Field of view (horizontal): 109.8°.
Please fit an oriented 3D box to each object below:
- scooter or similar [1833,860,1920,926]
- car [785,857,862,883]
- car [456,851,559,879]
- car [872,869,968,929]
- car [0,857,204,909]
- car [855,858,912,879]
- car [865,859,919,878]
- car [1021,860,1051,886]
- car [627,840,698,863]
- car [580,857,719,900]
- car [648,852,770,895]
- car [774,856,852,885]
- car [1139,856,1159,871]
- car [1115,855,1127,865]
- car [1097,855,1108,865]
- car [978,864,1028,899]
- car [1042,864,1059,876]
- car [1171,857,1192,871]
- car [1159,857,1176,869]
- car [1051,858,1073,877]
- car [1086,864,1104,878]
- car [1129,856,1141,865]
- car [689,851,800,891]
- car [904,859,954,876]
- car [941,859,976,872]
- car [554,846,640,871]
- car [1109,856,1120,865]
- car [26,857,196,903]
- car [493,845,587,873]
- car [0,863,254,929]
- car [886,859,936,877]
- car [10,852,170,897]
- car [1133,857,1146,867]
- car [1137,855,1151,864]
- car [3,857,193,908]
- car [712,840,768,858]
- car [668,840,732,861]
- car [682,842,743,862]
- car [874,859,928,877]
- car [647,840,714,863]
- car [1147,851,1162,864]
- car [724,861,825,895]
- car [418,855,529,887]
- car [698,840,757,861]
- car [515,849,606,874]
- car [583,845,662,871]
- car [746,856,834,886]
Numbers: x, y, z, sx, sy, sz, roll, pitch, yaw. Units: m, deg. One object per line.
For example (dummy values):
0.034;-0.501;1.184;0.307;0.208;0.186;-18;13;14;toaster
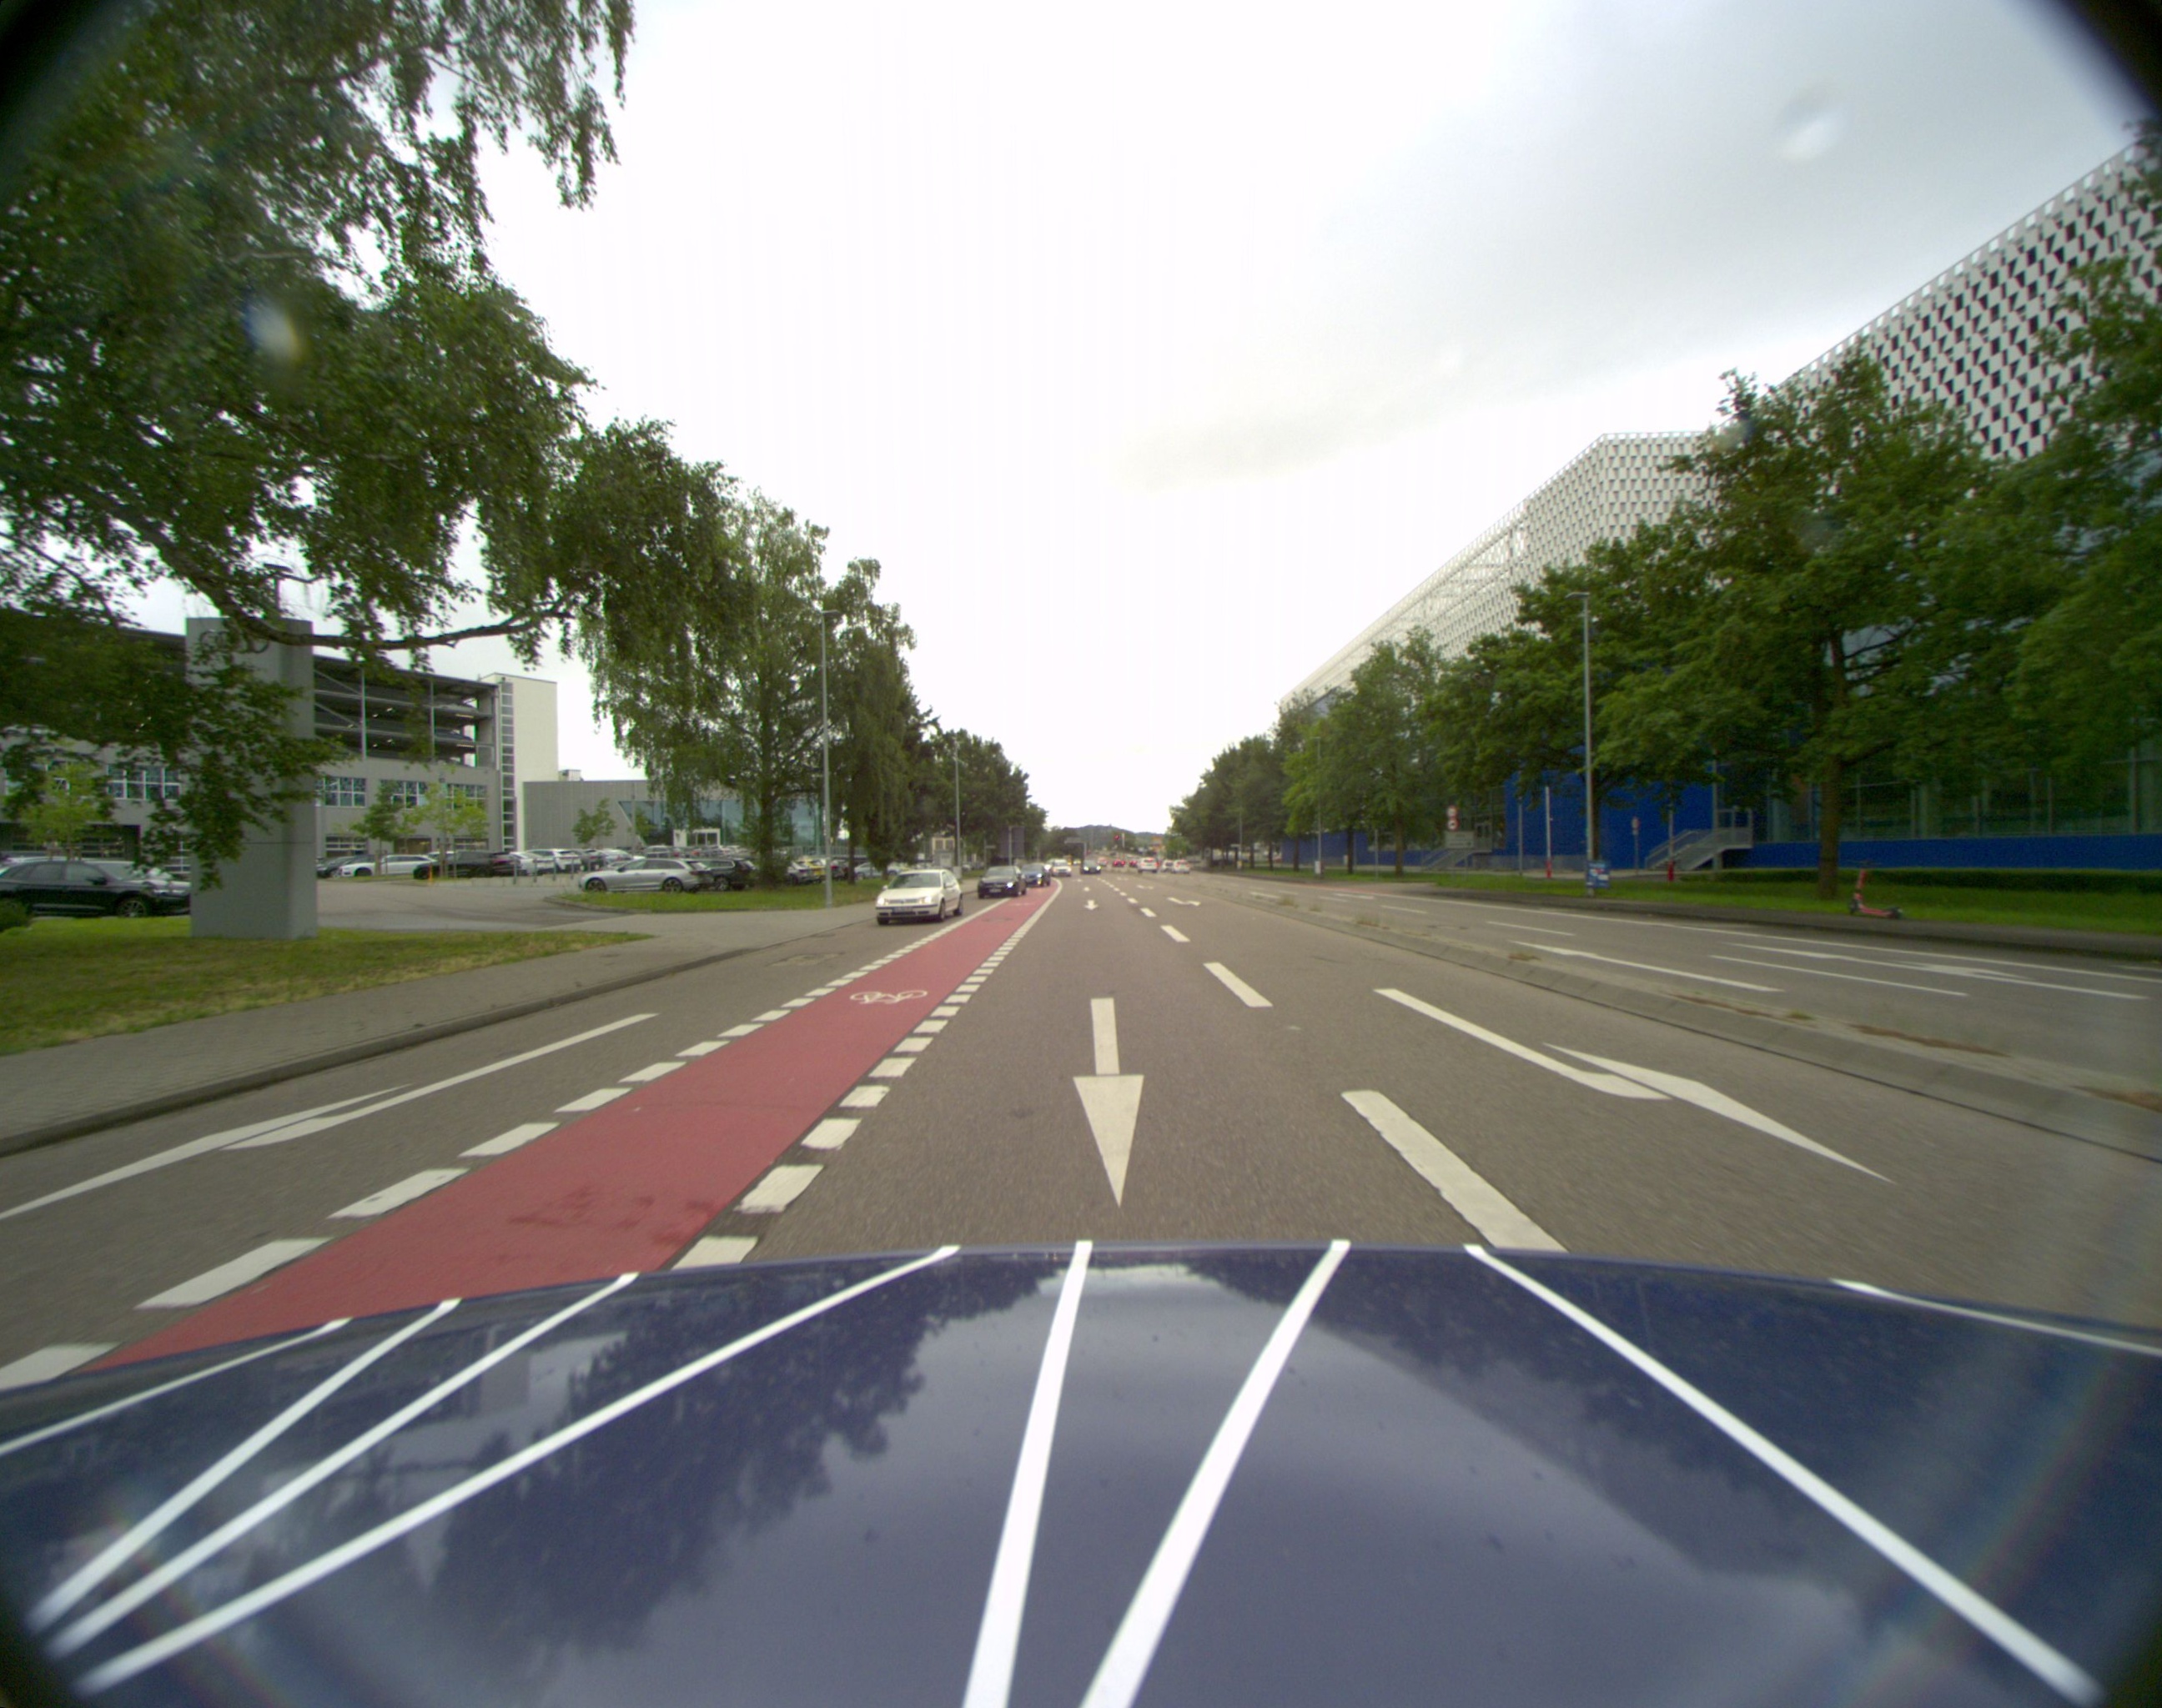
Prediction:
16.642;0.783;15.935;0.448;1.314;1.506;-1;0;10;scooter or similar
-15.786;0.956;46.766;4.002;1.345;1.902;-4;0;1;car
-32.231;0.595;42.775;4.309;1.282;1.832;-4;0;-1;car
-4.403;1.186;21.344;1.726;1.415;3.941;-2;0;1;car
-35.794;1.006;27.712;1.900;1.557;4.683;-4;0;33;car
-16.377;1.174;63.063;4.198;1.423;1.739;-4;0;0;car
-16.272;1.247;65.485;4.056;1.369;1.795;-4;0;1;car
-2.998;1.210;50.018;1.788;1.637;3.998;-1;0;-5;car
-32.118;-0.179;58.437;4.309;1.518;1.859;-4;0;-1;car
-16.617;0.912;29.448;4.310;1.480;1.739;-2;0;-5;car
-16.306;0.845;33.458;4.309;1.591;1.969;-4;0;-2;car
-15.479;0.936;43.983;3.761;1.415;1.953;-4;0;-1;car
7.575;1.021;84.738;1.822;1.577;4.513;1;0;0;car
7.596;1.120;144.345;1.651;1.788;3.978;-6;1;-6;car
4.001;1.197;143.061;1.651;1.787;3.979;1;0;-6;car
-3.526;1.217;35.106;1.837;1.415;4.000;-2;0;0;car
-3.922;2.105;98.236;1.837;1.415;4.000;-2;0;0;car
10.951;1.085;82.777;1.681;1.420;3.650;1;0;-3;car
10.676;1.131;93.963;1.628;1.414;3.611;0;0;0;car
-1.887;1.311;74.564;1.995;1.838;4.103;-1;0;-2;car
1.432;1.763;79.809;1.837;1.415;4.000;-2;0;0;car
10.763;1.326;151.231;1.651;1.787;3.979;1;0;-6;car
-15.951;0.797;36.152;4.308;1.591;1.969;-4;0;1;car
-16.102;1.422;80.630;4.763;1.416;1.902;-4;0;0;car
-15.715;1.432;97.595;4.041;1.384;1.727;-4;0;0;car
-31.712;0.281;49.869;4.309;1.364;1.832;-4;0;-1;car
6.743;1.250;153.366;1.651;1.787;3.979;1;0;-6;car
-41.471;1.067;32.593;1.964;1.651;4.319;-4;0;35;car
-32.373;0.314;45.557;4.309;1.374;1.700;-4;0;-1;car
-25.027;1.048;19.894;4.310;1.579;1.968;0;1;-6;car
-16.252;1.301;72.898;4.308;1.436;1.844;-4;0;0;car
-45.506;0.909;34.973;1.964;1.794;4.319;-4;0;35;car
10.782;1.419;141.183;1.651;1.787;3.979;1;0;-6;car
11.261;0.966;135.120;1.728;1.602;3.979;1;0;-6;car
-37.613;1.050;29.188;1.964;1.643;4.319;-4;0;35;car
-32.035;-0.461;71.497;4.309;1.355;1.832;-4;0;-1;car
-31.940;-0.302;63.738;4.309;1.503;1.832;-4;0;-1;car
-32.069;-0.198;66.183;4.309;1.424;1.864;-4;0;-1;car
-16.054;1.246;67.757;4.308;1.350;1.739;-4;0;0;car
-32.206;-0.181;61.207;4.309;1.516;1.832;-4;0;-1;car
11.383;0.524;117.216;1.771;1.913;4.909;0;0;-1;car
-15.563;1.205;38.733;4.308;1.374;1.902;-4;0;1;car
-32.264;0.883;40.442;4.309;1.365;1.832;-4;0;-1;car
-31.994;-0.278;68.857;4.308;1.582;1.896;-4;0;2;car
-32.584;0.451;47.641;4.309;1.240;1.832;-4;0;-1;car
-32.187;0.264;53.433;4.309;1.526;1.832;-4;0;-1;car
-15.689;0.912;41.094;4.004;1.371;1.811;-4;0;2;car
